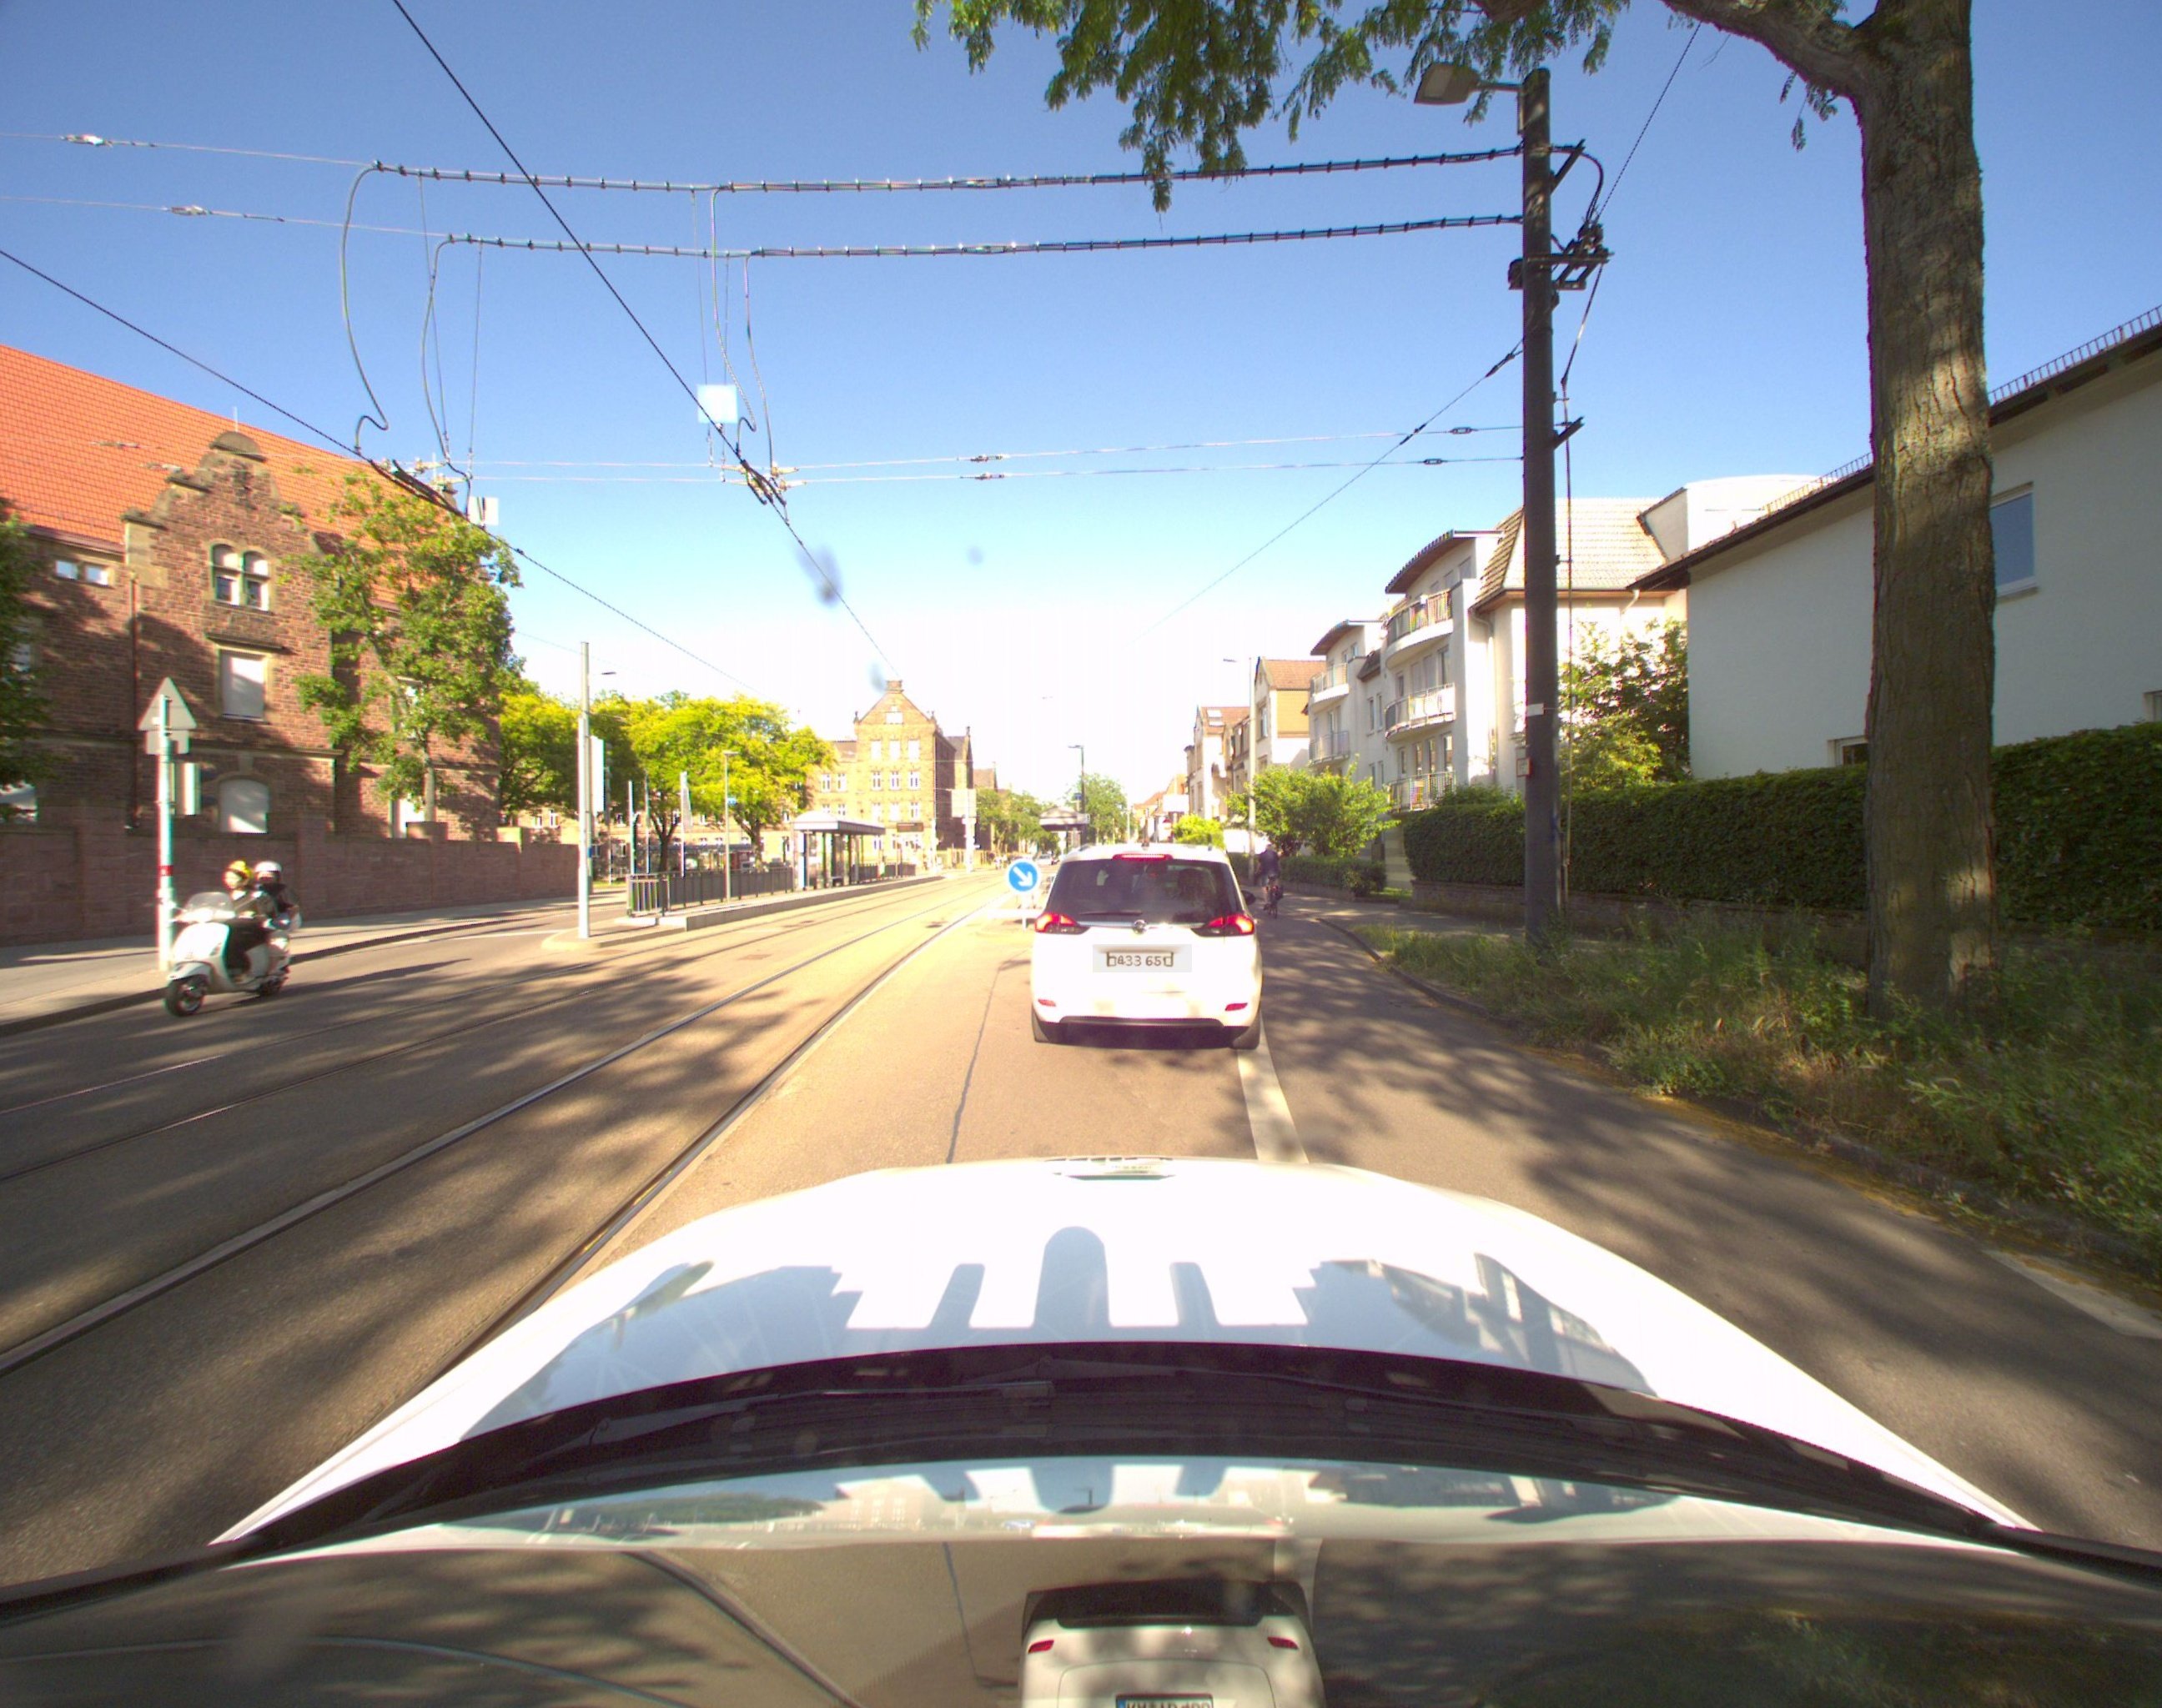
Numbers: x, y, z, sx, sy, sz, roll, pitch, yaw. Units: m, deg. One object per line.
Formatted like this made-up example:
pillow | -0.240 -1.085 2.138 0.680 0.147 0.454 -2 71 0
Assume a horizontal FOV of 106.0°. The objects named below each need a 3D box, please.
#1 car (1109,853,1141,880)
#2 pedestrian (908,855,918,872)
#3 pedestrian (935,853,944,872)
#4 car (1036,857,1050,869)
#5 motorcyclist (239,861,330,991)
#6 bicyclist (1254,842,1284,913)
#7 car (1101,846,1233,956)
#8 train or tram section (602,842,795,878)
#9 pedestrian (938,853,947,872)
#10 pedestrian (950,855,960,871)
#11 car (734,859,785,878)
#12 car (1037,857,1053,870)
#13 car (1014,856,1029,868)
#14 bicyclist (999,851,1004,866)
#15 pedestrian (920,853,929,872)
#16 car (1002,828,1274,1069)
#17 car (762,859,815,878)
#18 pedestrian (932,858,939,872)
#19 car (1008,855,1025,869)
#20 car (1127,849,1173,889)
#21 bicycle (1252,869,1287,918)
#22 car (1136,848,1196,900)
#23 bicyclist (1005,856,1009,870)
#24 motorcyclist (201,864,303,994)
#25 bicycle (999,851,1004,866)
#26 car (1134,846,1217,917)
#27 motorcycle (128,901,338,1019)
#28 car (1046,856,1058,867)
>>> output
car | 2.842 0.756 53.175 1.901 1.661 4.000 -1 0 0
pedestrian | -18.452 1.016 89.648 0.802 1.901 0.747 -1 -1 16
pedestrian | -15.556 0.943 89.528 0.801 2.014 0.713 0 -1 -35
car | -5.374 1.297 115.544 1.740 1.716 4.001 0 -1 2
motorcyclist | -9.609 0.848 9.839 0.606 1.516 0.464 -1 0 -8
bicyclist | 4.615 0.568 20.000 0.612 1.686 0.780 -1 0 7
car | 1.561 0.689 13.861 1.896 1.597 4.010 -1 0 9
train or tram section | -37.845 0.584 81.138 17.346 3.154 3.344 -1 -1 -3
pedestrian | -14.553 0.875 85.508 0.796 2.014 0.717 0 -1 -15
pedestrian | -14.709 1.061 95.034 0.801 1.901 0.747 -1 -1 20
car | -29.654 1.322 75.206 3.976 1.630 1.817 0 -1 -2
car | -4.711 1.265 107.665 1.740 1.716 4.001 0 -1 2
car | -8.334 1.126 114.112 1.740 1.716 4.001 0 -1 2
bicyclist | -10.702 0.640 109.446 0.496 2.013 0.572 -1 0 1
pedestrian | -17.064 0.949 88.941 0.800 2.014 0.713 0 -1 -32
car | 0.697 0.665 7.732 1.896 1.661 4.010 -1 0 9
car | -25.446 1.245 70.963 3.976 1.630 1.817 0 -1 -2
pedestrian | -17.142 1.265 95.917 0.651 1.612 0.712 0 -1 4
car | -8.502 1.039 107.445 1.740 1.716 4.001 0 -1 2
car | 2.997 0.620 36.183 1.899 1.661 4.003 -1 0 3
bicycle | 4.624 0.935 20.034 0.620 1.097 1.977 -1 0 7
car | 2.977 0.655 28.339 1.897 1.661 4.007 -1 0 6
bicyclist | -10.239 1.232 112.370 0.486 2.014 0.502 0 -1 1
motorcyclist | -9.553 0.842 9.400 0.683 1.440 0.445 -1 0 -8
bicycle | -10.703 0.640 109.418 0.485 2.013 1.406 -1 0 2
car | 2.522 0.641 21.067 1.896 1.624 4.010 -1 0 9
motorcycle | -9.535 1.139 9.272 0.609 1.093 1.851 -1 0 -7
car | -4.607 1.193 129.390 1.740 1.716 4.001 0 -1 2
